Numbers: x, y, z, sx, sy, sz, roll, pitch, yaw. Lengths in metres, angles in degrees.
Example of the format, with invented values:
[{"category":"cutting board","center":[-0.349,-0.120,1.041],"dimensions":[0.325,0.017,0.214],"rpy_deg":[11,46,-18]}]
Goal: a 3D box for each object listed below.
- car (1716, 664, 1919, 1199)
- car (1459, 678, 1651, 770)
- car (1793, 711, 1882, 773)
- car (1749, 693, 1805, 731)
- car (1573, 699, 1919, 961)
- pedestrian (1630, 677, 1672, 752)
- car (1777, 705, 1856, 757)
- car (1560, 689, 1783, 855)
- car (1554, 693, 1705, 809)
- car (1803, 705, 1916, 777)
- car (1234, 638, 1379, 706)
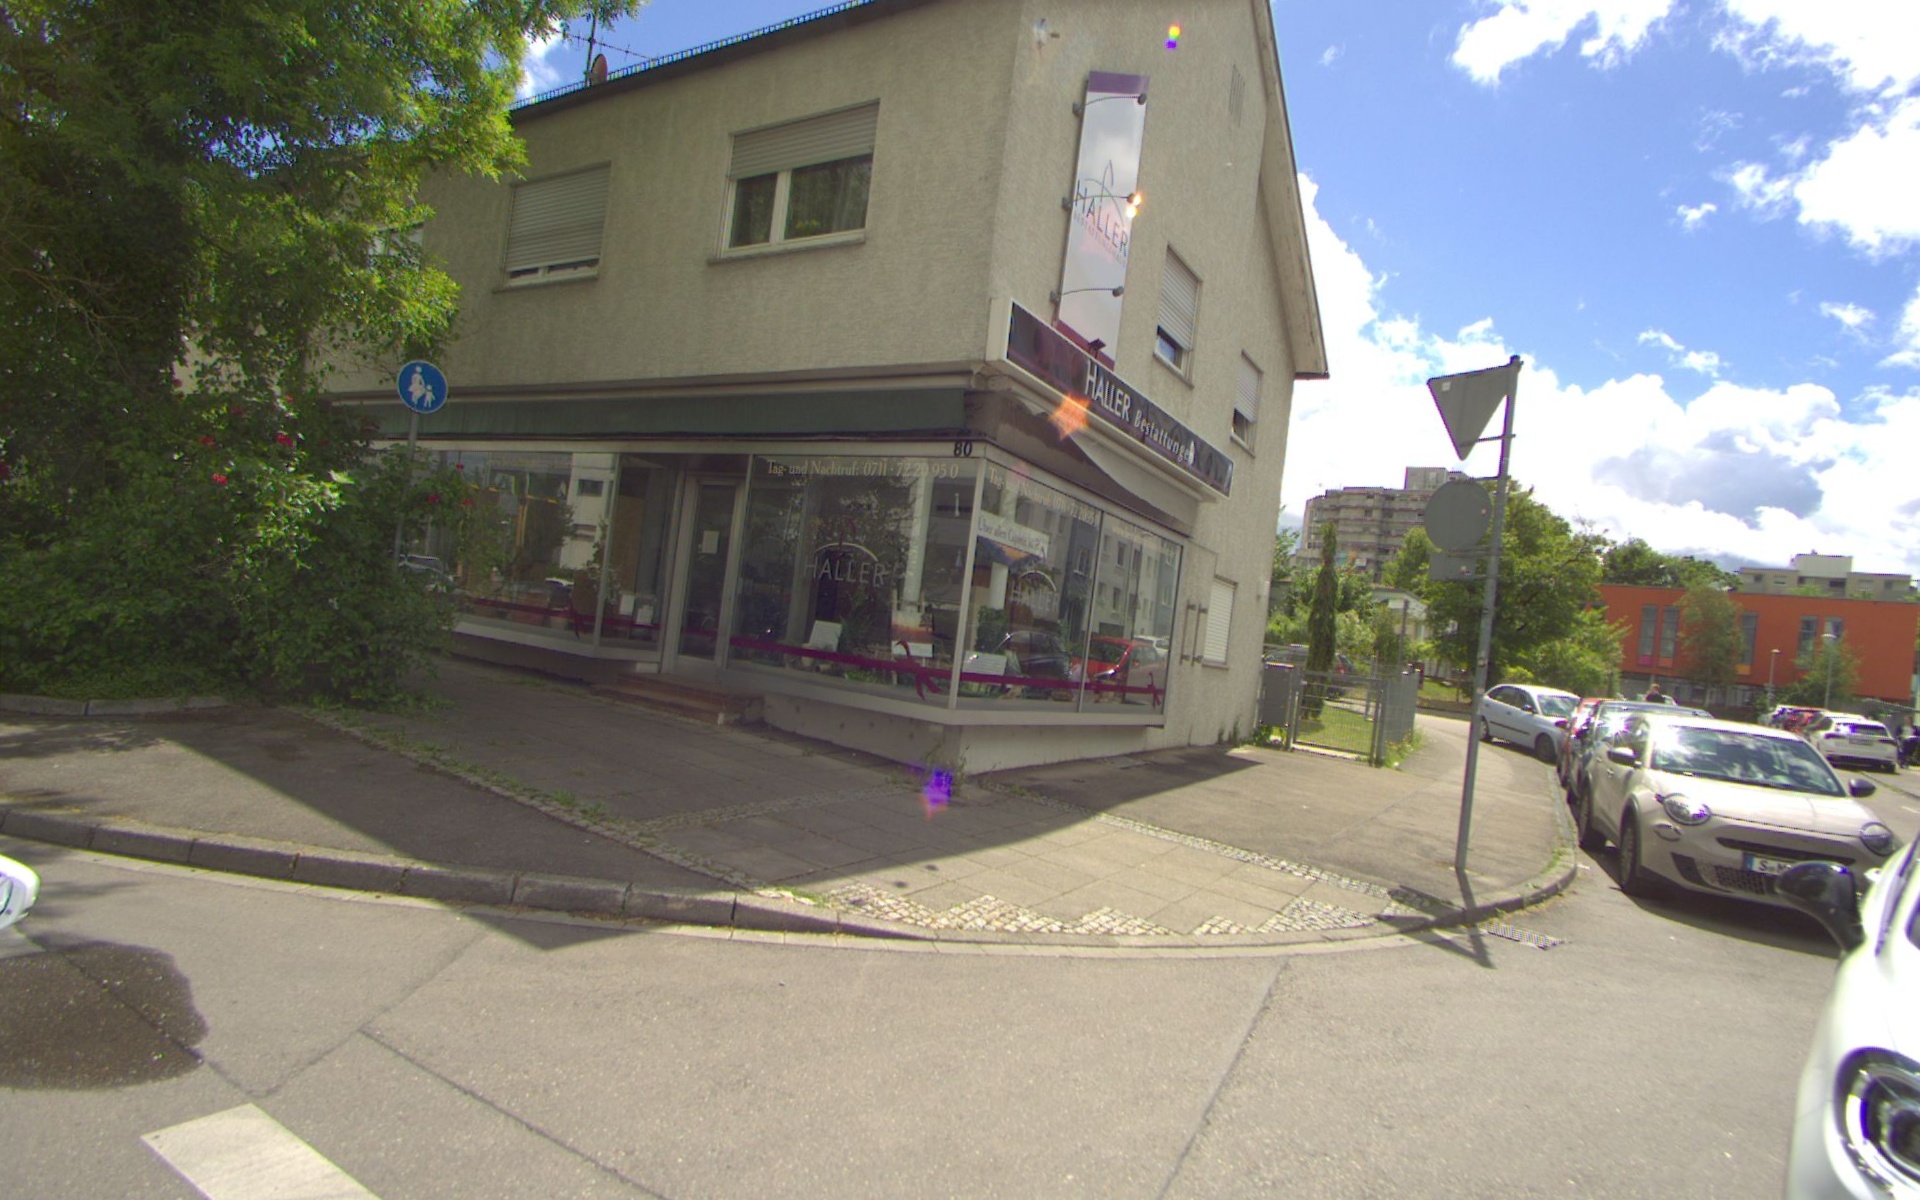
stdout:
[{"category":"car","center":[3.201,1.136,2.408],"dimensions":[1.818,1.590,3.629],"rpy_deg":[6,-1,44]},{"category":"car","center":[12.907,2.647,22.116],"dimensions":[1.763,1.449,3.777],"rpy_deg":[6,-1,-2]},{"category":"car","center":[30.800,4.913,35.458],"dimensions":[1.824,1.708,5.448],"rpy_deg":[7,0,37]},{"category":"car","center":[44.493,6.067,54.872],"dimensions":[1.823,1.708,4.525],"rpy_deg":[7,0,34]},{"category":"car","center":[6.992,1.842,9.278],"dimensions":[1.771,1.537,3.935],"rpy_deg":[7,-1,26]},{"category":"pedestrian","center":[19.100,3.164,27.799],"dimensions":[0.570,1.937,0.673],"rpy_deg":[9,-2,-43]},{"category":"car","center":[35.005,5.297,41.230],"dimensions":[1.823,1.708,4.525],"rpy_deg":[7,0,34]},{"category":"car","center":[9.132,2.084,13.254],"dimensions":[1.880,1.590,3.915],"rpy_deg":[4,-2,29]},{"category":"car","center":[11.434,2.489,17.442],"dimensions":[1.766,1.449,4.312],"rpy_deg":[5,-1,30]},{"category":"car","center":[27.314,4.214,30.693],"dimensions":[1.823,1.708,4.525],"rpy_deg":[7,0,34]},{"category":"car","center":[11.542,2.363,33.580],"dimensions":[4.245,1.768,1.793],"rpy_deg":[5,0,27]}]
